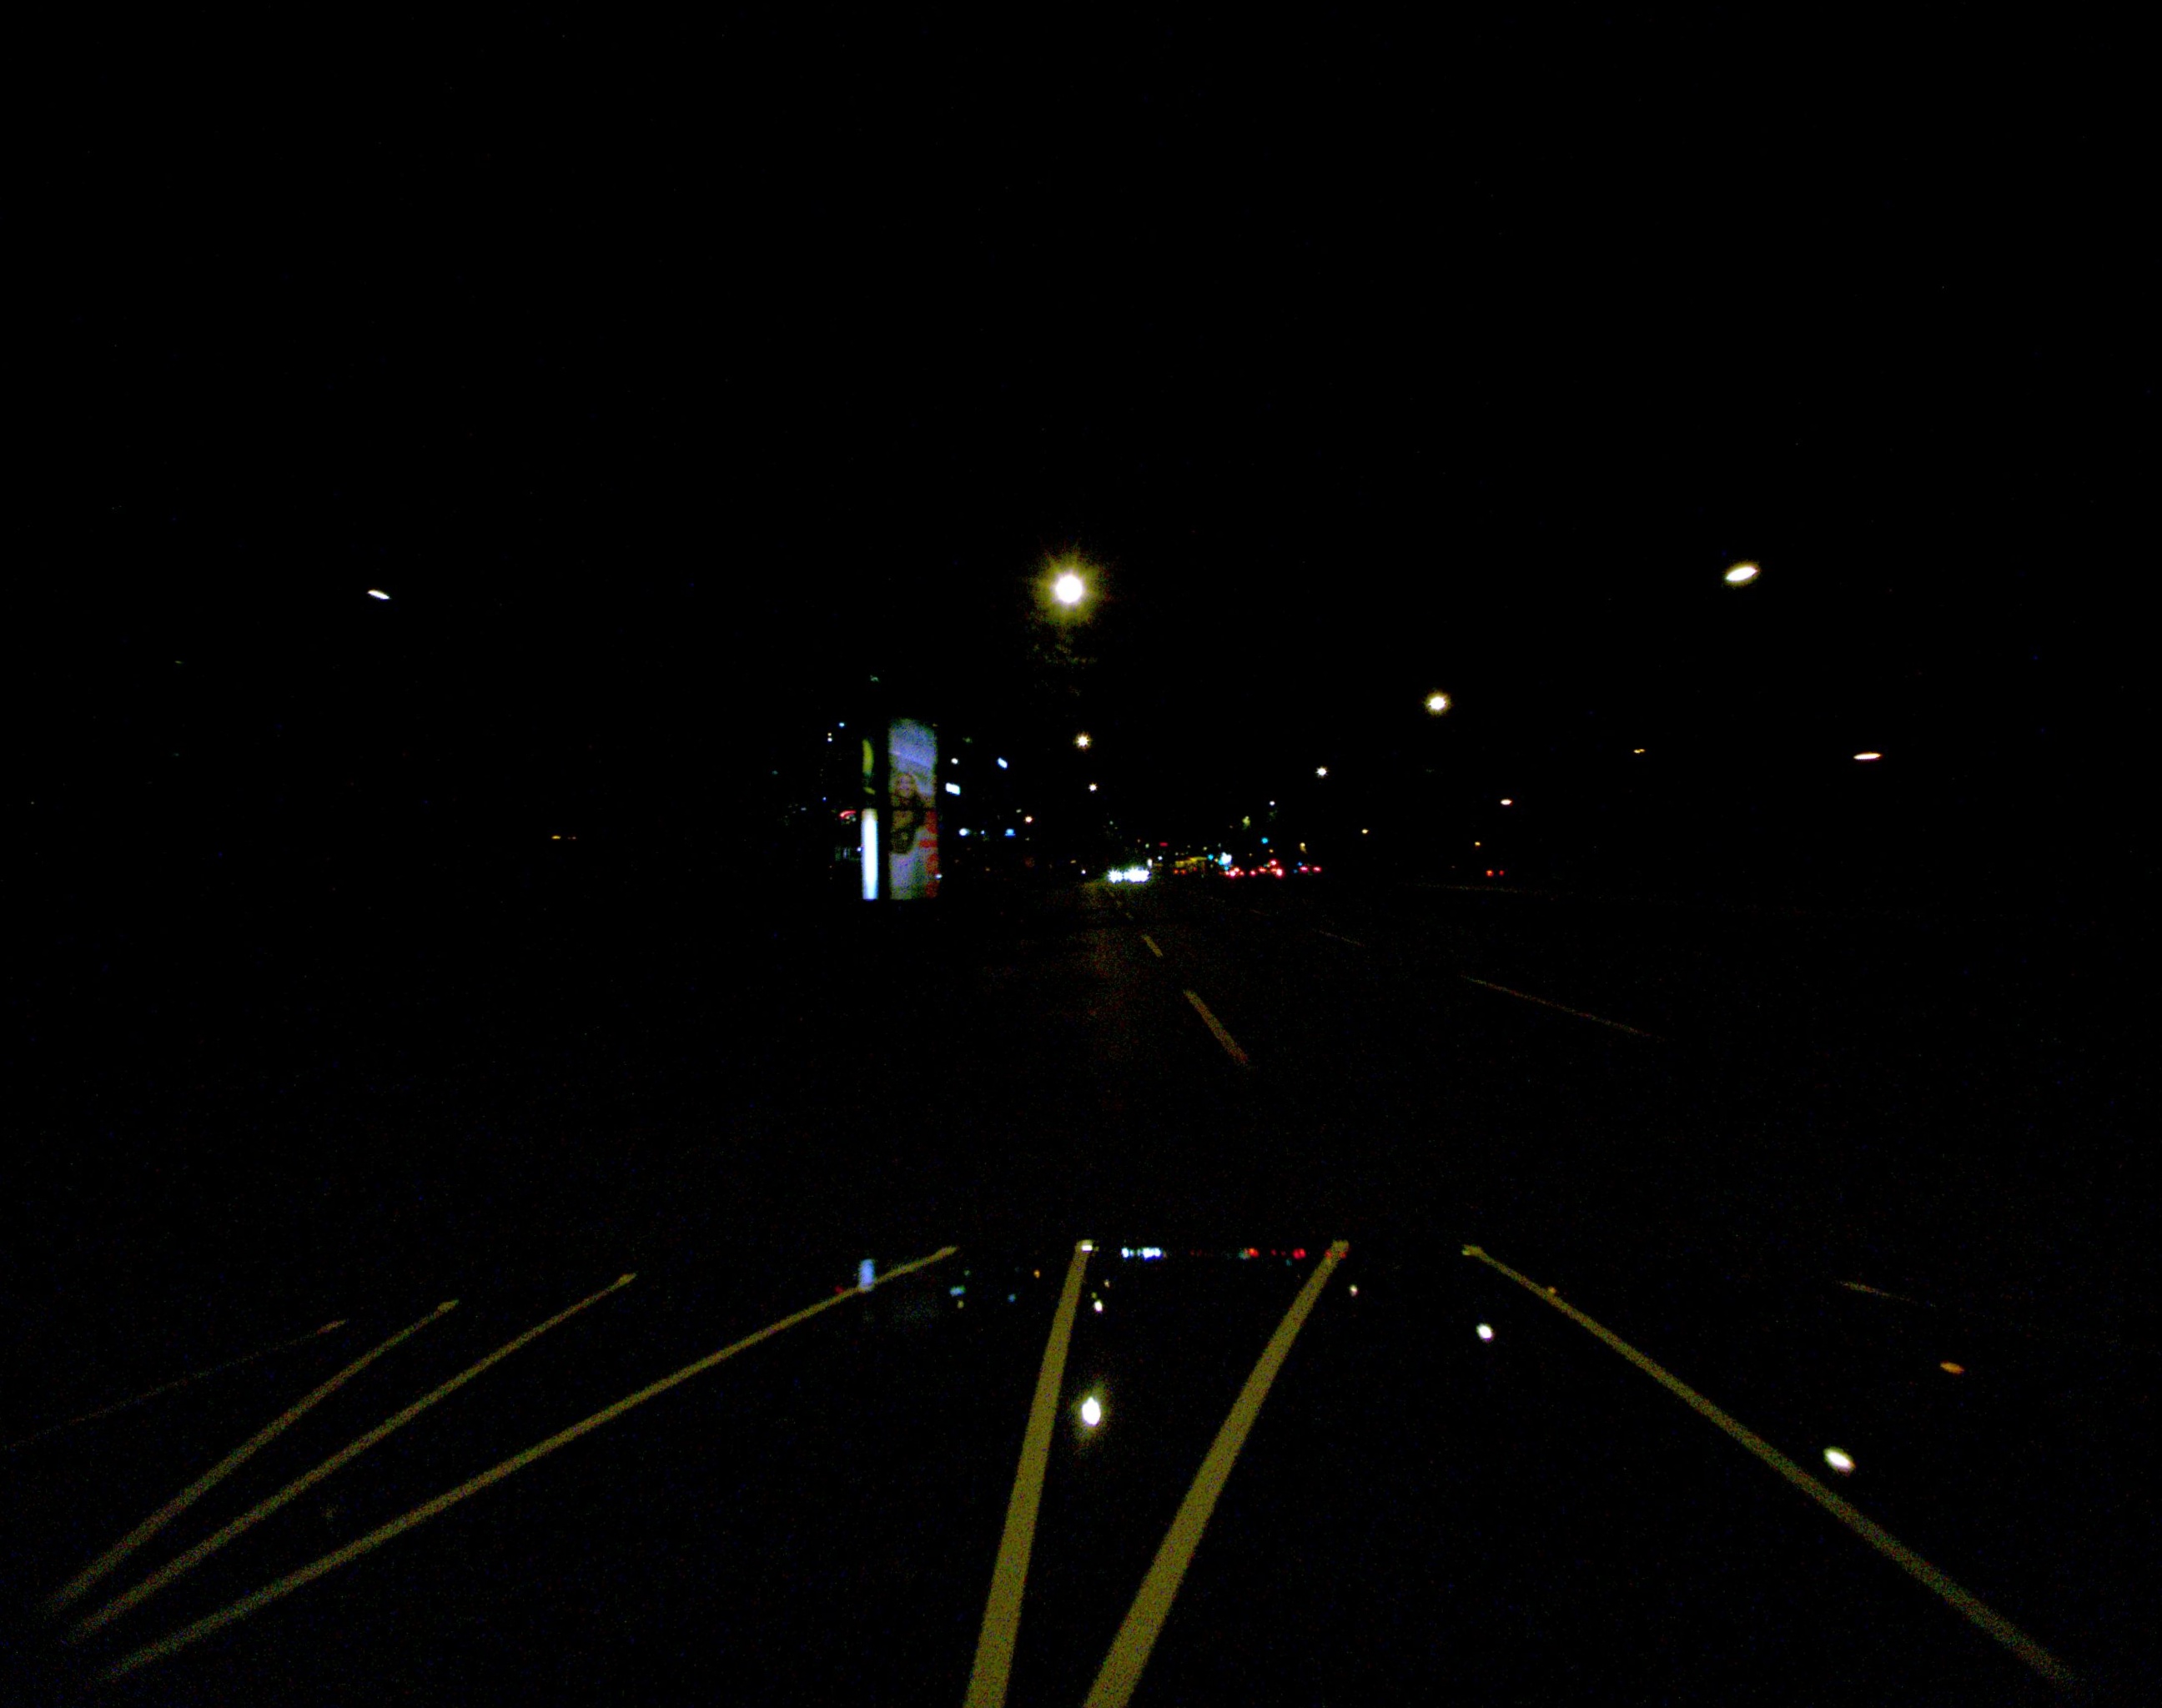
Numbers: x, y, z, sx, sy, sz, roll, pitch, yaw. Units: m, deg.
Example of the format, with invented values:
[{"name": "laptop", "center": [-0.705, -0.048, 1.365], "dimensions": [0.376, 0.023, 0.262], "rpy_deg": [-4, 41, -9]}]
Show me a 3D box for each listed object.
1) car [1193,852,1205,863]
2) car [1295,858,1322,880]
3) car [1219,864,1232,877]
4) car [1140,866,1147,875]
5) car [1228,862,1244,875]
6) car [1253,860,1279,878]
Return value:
[{"name": "car", "center": [21.770, 0.632, 140.535], "dimensions": [1.794, 1.896, 4.001], "rpy_deg": [-2, 1, 5]}, {"name": "car", "center": [22.746, 1.460, 76.094], "dimensions": [2.059, 2.002, 4.002], "rpy_deg": [-2, 1, 10]}, {"name": "car", "center": [25.010, 2.804, 131.709], "dimensions": [1.794, 2.002, 4.001], "rpy_deg": [-2, 1, 5]}, {"name": "car", "center": [16.166, 4.203, 196.266], "dimensions": [1.794, 2.002, 4.001], "rpy_deg": [-2, 1, 6]}, {"name": "car", "center": [22.300, 2.076, 109.158], "dimensions": [1.794, 1.779, 4.001], "rpy_deg": [-2, 1, 5]}, {"name": "car", "center": [19.983, 1.628, 82.209], "dimensions": [1.794, 1.728, 3.999], "rpy_deg": [-2, 1, 0]}]
